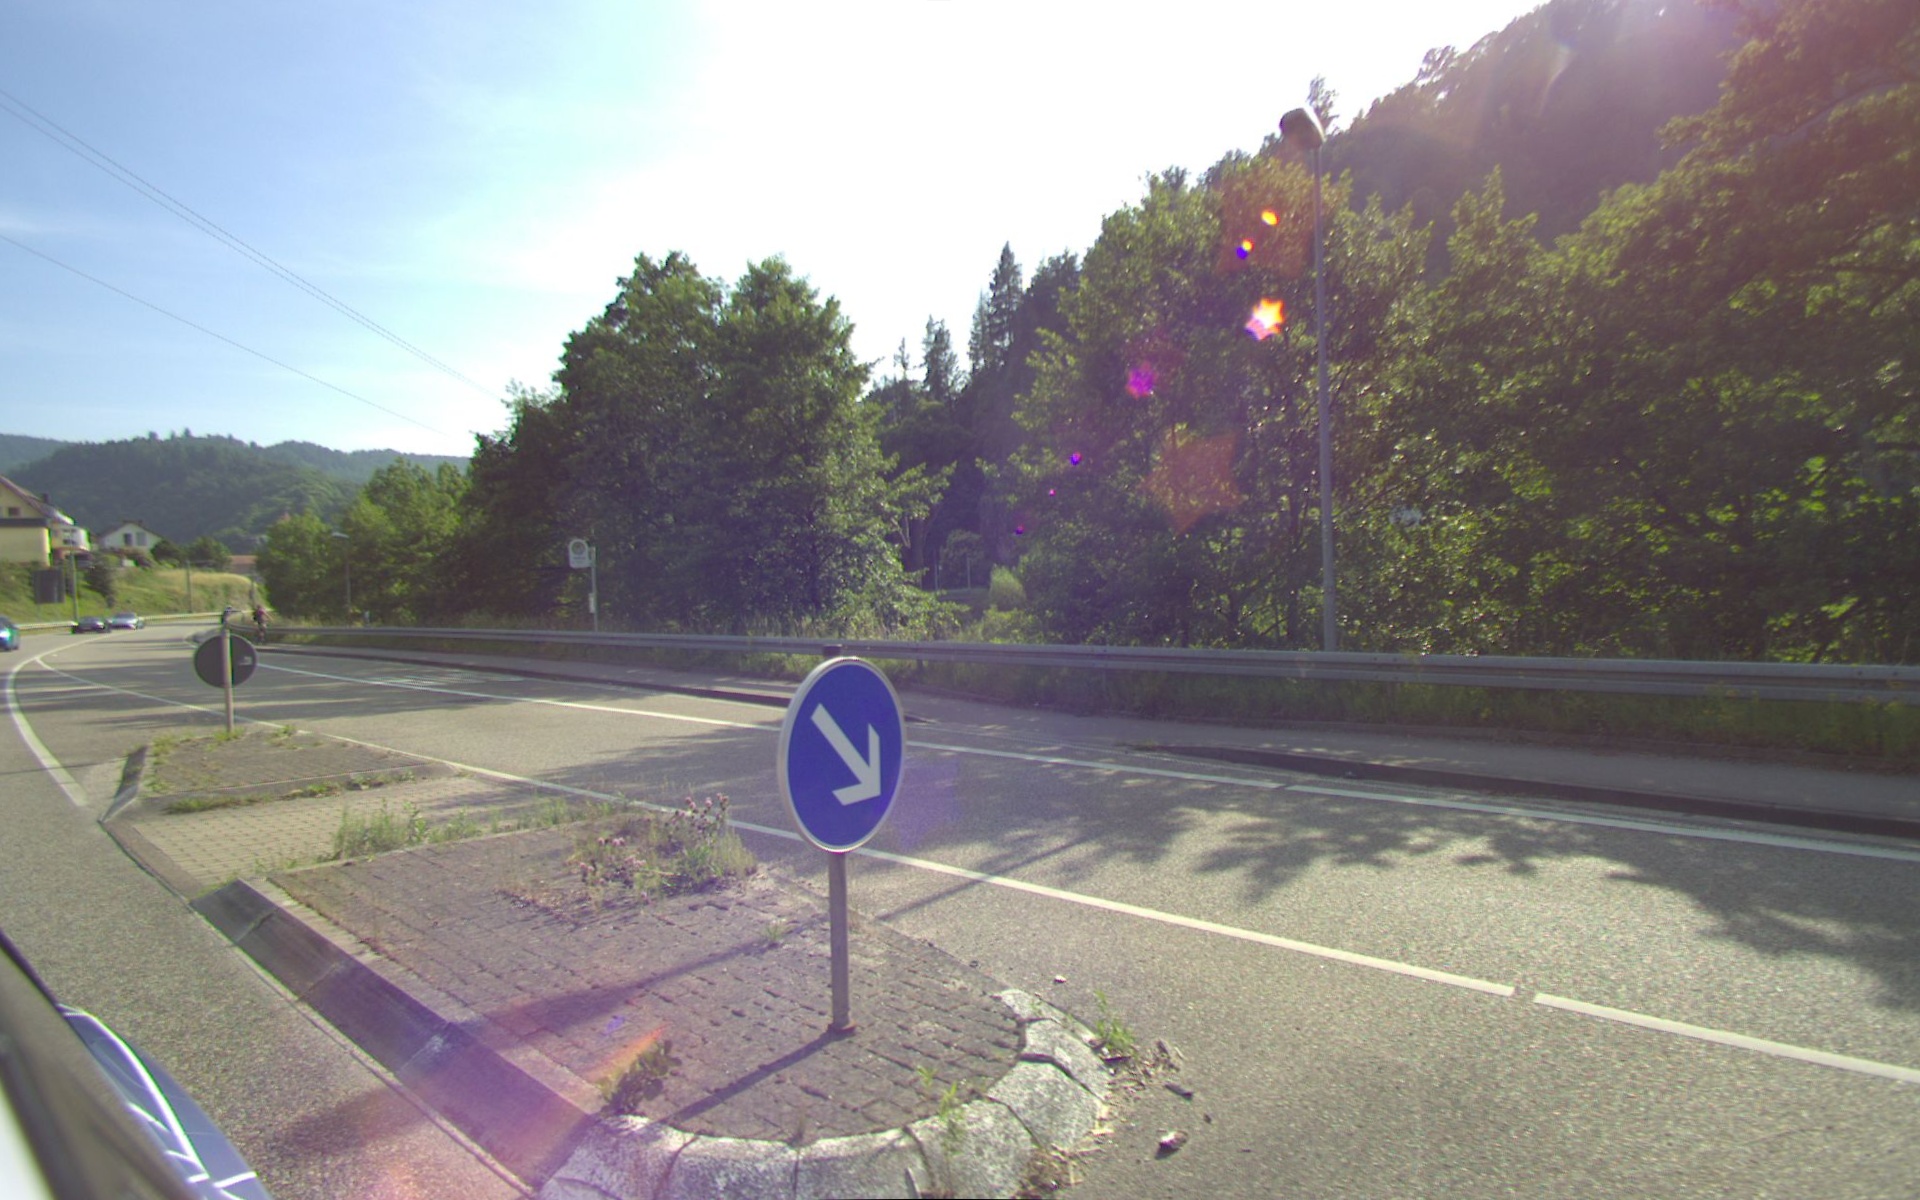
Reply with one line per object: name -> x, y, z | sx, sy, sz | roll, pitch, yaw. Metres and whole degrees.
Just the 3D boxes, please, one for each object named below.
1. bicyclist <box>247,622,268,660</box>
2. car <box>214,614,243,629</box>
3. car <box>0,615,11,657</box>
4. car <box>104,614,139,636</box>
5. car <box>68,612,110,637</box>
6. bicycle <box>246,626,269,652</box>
bicyclist -> -30.848, 1.811, 44.433 | 0.550, 1.598, 1.037 | -5, 1, -40
car -> -79.041, 2.286, 109.395 | 1.864, 1.499, 4.013 | -1, 1, -26
car -> -42.248, 1.528, 43.670 | 1.858, 1.758, 4.182 | 1, -2, -43
car -> -70.626, 2.101, 85.294 | 1.855, 1.758, 4.189 | 0, -1, -35
car -> -62.424, 1.735, 72.565 | 1.855, 1.758, 4.189 | 0, -1, -35
bicycle -> -30.942, 1.730, 44.563 | 0.550, 1.053, 2.233 | -5, 1, -40
